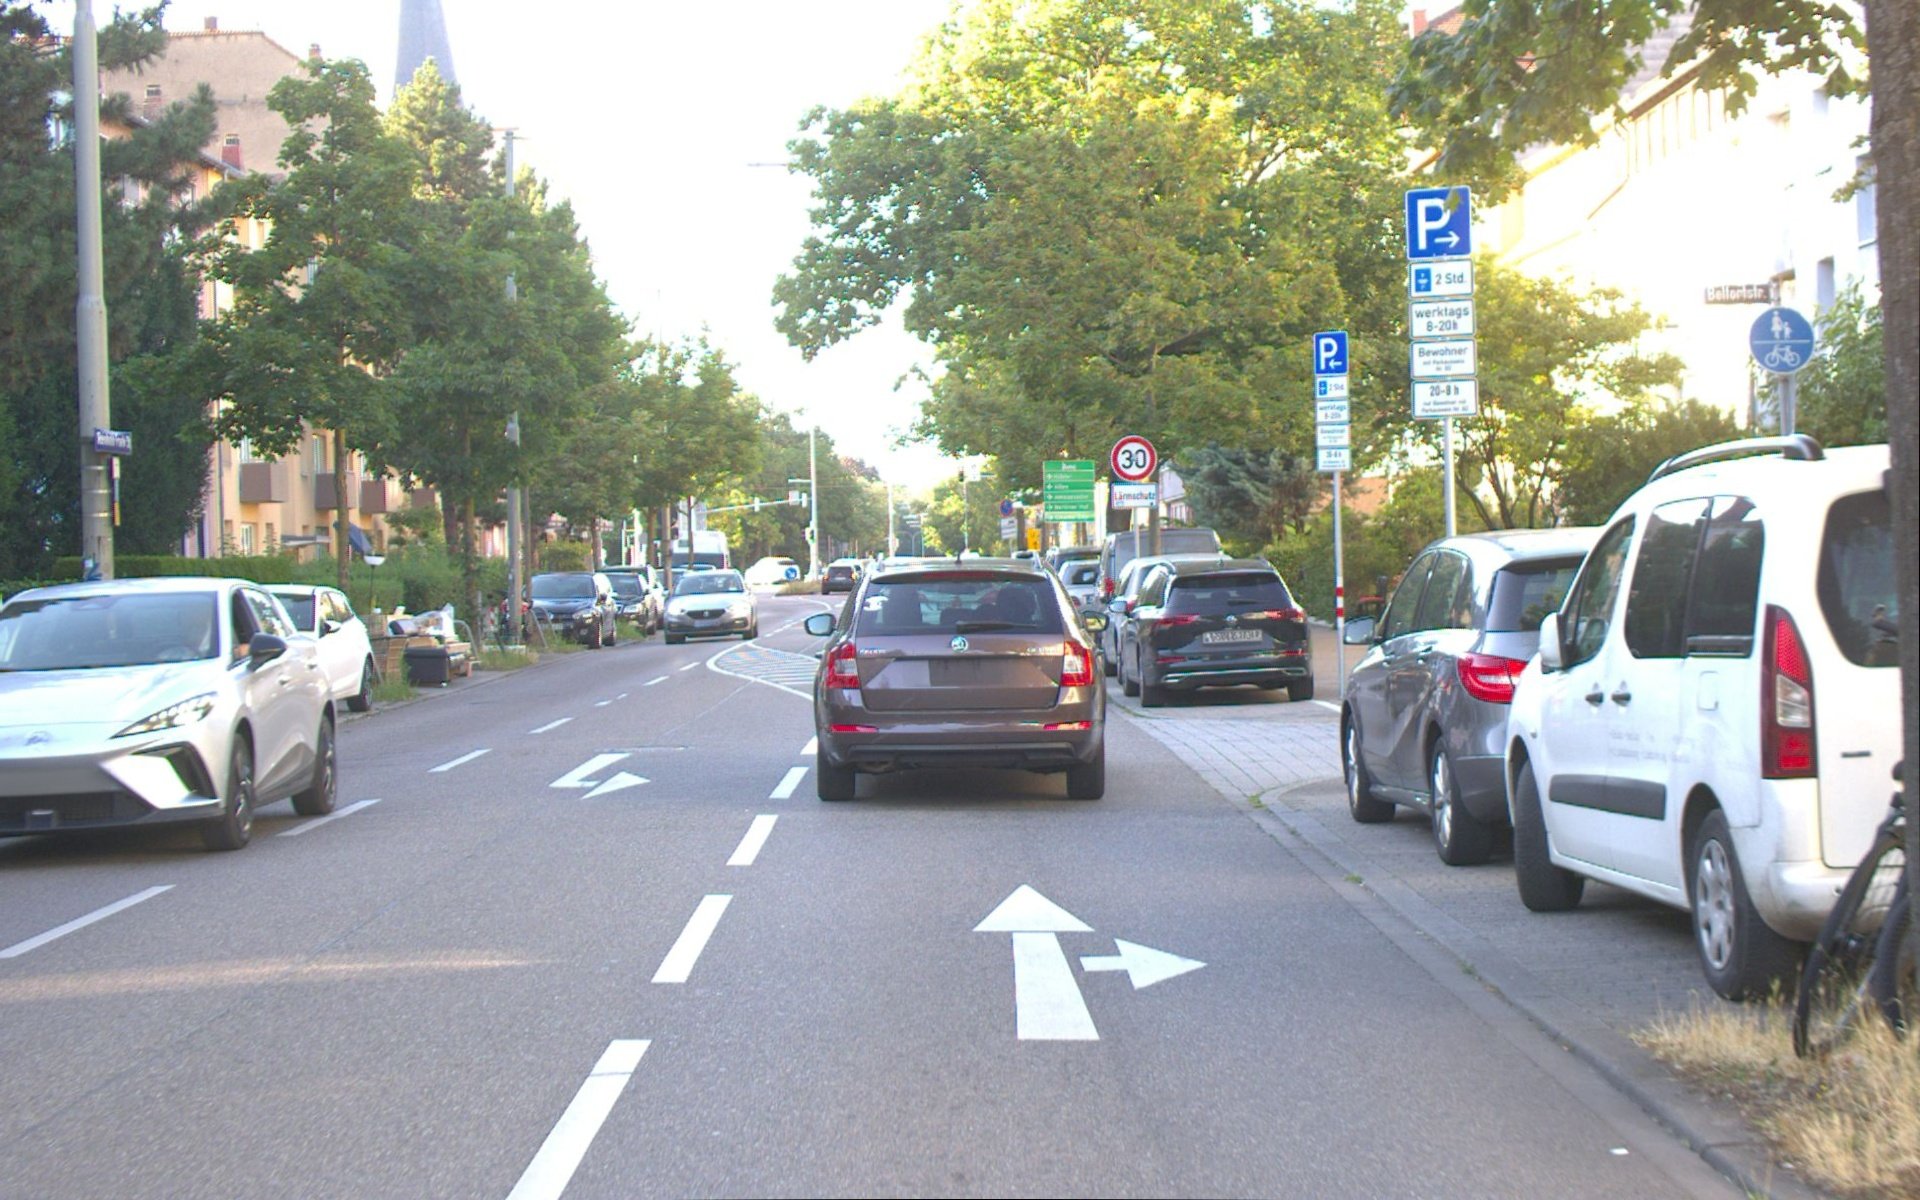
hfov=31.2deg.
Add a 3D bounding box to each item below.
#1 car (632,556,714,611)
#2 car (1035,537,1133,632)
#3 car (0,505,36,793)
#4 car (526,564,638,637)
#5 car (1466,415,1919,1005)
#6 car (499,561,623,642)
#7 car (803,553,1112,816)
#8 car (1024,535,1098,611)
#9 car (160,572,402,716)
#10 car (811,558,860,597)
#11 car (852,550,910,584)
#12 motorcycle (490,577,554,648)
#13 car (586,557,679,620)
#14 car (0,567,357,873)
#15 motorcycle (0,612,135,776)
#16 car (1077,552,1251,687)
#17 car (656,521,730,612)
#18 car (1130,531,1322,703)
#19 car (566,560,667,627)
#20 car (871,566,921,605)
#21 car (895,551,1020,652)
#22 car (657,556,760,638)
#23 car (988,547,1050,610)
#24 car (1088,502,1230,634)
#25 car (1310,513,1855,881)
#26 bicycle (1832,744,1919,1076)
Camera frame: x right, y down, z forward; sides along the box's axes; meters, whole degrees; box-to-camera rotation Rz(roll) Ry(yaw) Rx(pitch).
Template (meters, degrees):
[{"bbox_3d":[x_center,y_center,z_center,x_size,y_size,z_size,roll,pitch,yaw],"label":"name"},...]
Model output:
[{"bbox_3d":[-7.877,-0.467,94.633,1.781,1.475,3.971,0,1,2],"label":"car"},{"bbox_3d":[2.282,-0.313,63.955,1.754,1.709,4.000,0,1,1],"label":"car"},{"bbox_3d":[-7.667,0.382,22.503,1.868,2.024,5.301,-1,1,-1],"label":"car"},{"bbox_3d":[-7.889,-0.016,72.025,1.781,1.475,3.971,0,1,2],"label":"car"},{"bbox_3d":[3.188,0.303,12.741,1.800,1.802,4.424,0,1,-2],"label":"car"},{"bbox_3d":[-7.613,0.008,65.945,1.781,1.475,4.033,0,1,2],"label":"car"},{"bbox_3d":[0.031,0.451,21.505,1.754,1.487,4.000,0,1,1],"label":"car"},{"bbox_3d":[2.442,-0.681,83.411,1.754,1.799,4.000,0,1,1],"label":"car"},{"bbox_3d":[-7.451,0.444,38.083,1.781,1.489,3.971,0,1,2],"label":"car"},{"bbox_3d":[-5.841,-1.065,160.600,1.993,1.744,4.001,-2,1,-5],"label":"car"},{"bbox_3d":[-4.215,-1.750,183.396,1.993,1.744,4.001,-2,1,-18],"label":"car"},{"bbox_3d":[-7.636,0.201,59.986,0.740,1.200,2.141,0,1,3],"label":"motorcycle"},{"bbox_3d":[-7.998,-0.300,84.162,1.781,1.475,3.971,0,1,2],"label":"car"},{"bbox_3d":[-4.719,0.613,19.581,1.781,1.489,3.971,-3,1,0],"label":"car"},{"bbox_3d":[-7.565,0.752,27.452,0.659,1.200,2.330,-2,1,21],"label":"motorcycle"},{"bbox_3d":[2.419,0.200,41.606,1.754,1.551,4.105,0,1,-2],"label":"car"},{"bbox_3d":[-8.291,-1.055,107.194,1.991,2.771,5.504,0,1,-1],"label":"car"},{"bbox_3d":[2.698,0.132,35.642,1.754,1.681,4.252,0,1,1],"label":"car"},{"bbox_3d":[-7.820,-0.170,78.464,1.781,1.475,3.971,0,1,2],"label":"car"},{"bbox_3d":[-2.505,-0.574,132.996,1.781,1.475,3.971,0,1,-3],"label":"car"},{"bbox_3d":[-0.064,0.031,55.028,1.892,1.501,3.790,2,0,-1],"label":"car"},{"bbox_3d":[-5.109,-0.081,70.254,1.739,1.474,4.310,-5,1,-1],"label":"car"},{"bbox_3d":[1.698,-0.644,100.446,1.754,1.799,4.000,0,1,0],"label":"car"},{"bbox_3d":[2.955,-0.503,52.003,1.916,1.854,5.633,-1,1,1],"label":"car"},{"bbox_3d":[3.005,0.399,17.501,1.754,1.551,4.253,-3,1,-2],"label":"car"},{"bbox_3d":[3.256,0.825,9.578,1.552,0.866,0.393,-2,1,-9],"label":"bicycle"}]
